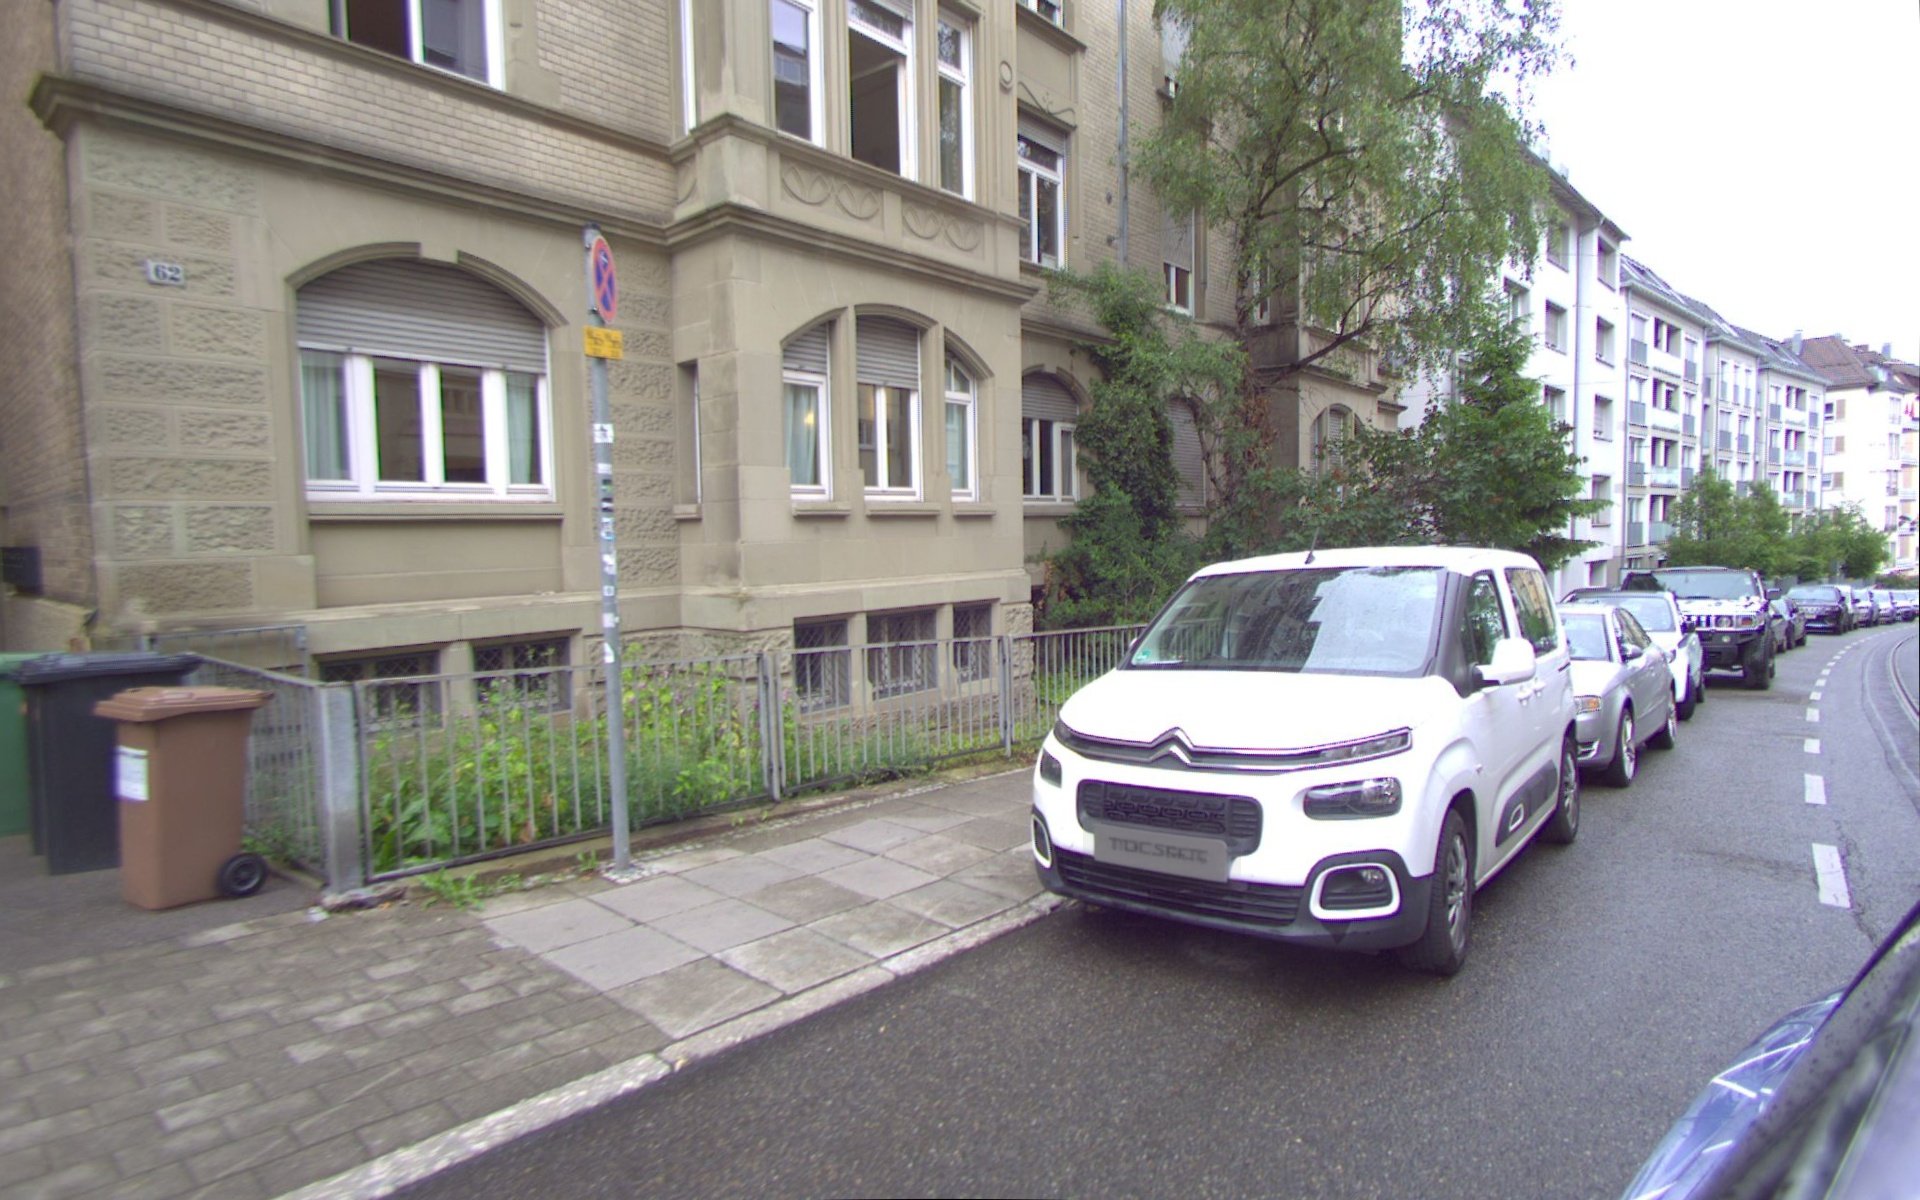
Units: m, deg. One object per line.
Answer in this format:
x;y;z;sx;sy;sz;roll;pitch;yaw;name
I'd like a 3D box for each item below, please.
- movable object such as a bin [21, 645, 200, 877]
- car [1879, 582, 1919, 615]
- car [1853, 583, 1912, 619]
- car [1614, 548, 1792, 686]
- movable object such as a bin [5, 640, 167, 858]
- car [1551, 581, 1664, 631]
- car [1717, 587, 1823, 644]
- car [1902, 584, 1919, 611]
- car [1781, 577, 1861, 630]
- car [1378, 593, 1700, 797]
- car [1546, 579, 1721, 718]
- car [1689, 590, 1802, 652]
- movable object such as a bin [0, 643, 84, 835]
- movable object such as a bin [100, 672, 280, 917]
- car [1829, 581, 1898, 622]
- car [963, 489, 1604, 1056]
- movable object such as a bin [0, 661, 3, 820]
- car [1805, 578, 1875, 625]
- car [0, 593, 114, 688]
-4.309;0.769;5.142;0.653;1.043;0.528;-1;-1;-43;movable object such as a bin
49.061;-0.085;52.506;1.975;1.604;4.495;2;2;43;car
44.711;0.014;49.019;4.587;1.648;1.834;-1;2;-44;car
13.087;0.225;17.665;2.126;2.039;5.272;-1;0;40;car
-4.786;0.774;5.546;0.498;1.075;0.600;-3;-1;41;movable object such as a bin
20.208;0.166;31.535;4.079;1.444;1.816;0;0;-39;car
22.515;0.369;28.068;4.535;1.455;1.795;-1;1;-45;car
56.148;-0.158;58.527;4.704;1.534;1.862;-1;2;-40;car
32.099;0.075;37.679;1.943;1.817;4.744;1;2;45;car
5.557;0.664;9.420;1.747;1.418;4.411;-1;0;41;car
8.921;0.532;13.297;1.557;1.565;3.533;-1;0;40;car
19.014;0.453;24.446;3.819;1.355;1.679;-1;1;-44;car
-5.637;0.813;6.039;0.495;1.075;0.547;-3;-1;41;movable object such as a bin
-3.384;0.816;4.457;0.425;0.931;0.530;3;2;38;movable object such as a bin
40.538;0.022;45.376;4.608;1.676;1.834;-1;2;-43;car
2.101;0.523;5.476;1.795;1.787;4.399;-1;0;40;car
-6.314;0.819;6.296;0.518;1.116;0.471;-3;-1;42;movable object such as a bin
36.031;0.018;41.399;4.398;1.817;1.780;-1;2;-44;car
-17.914;0.651;18.177;3.933;1.529;1.796;7;-1;-45;car
